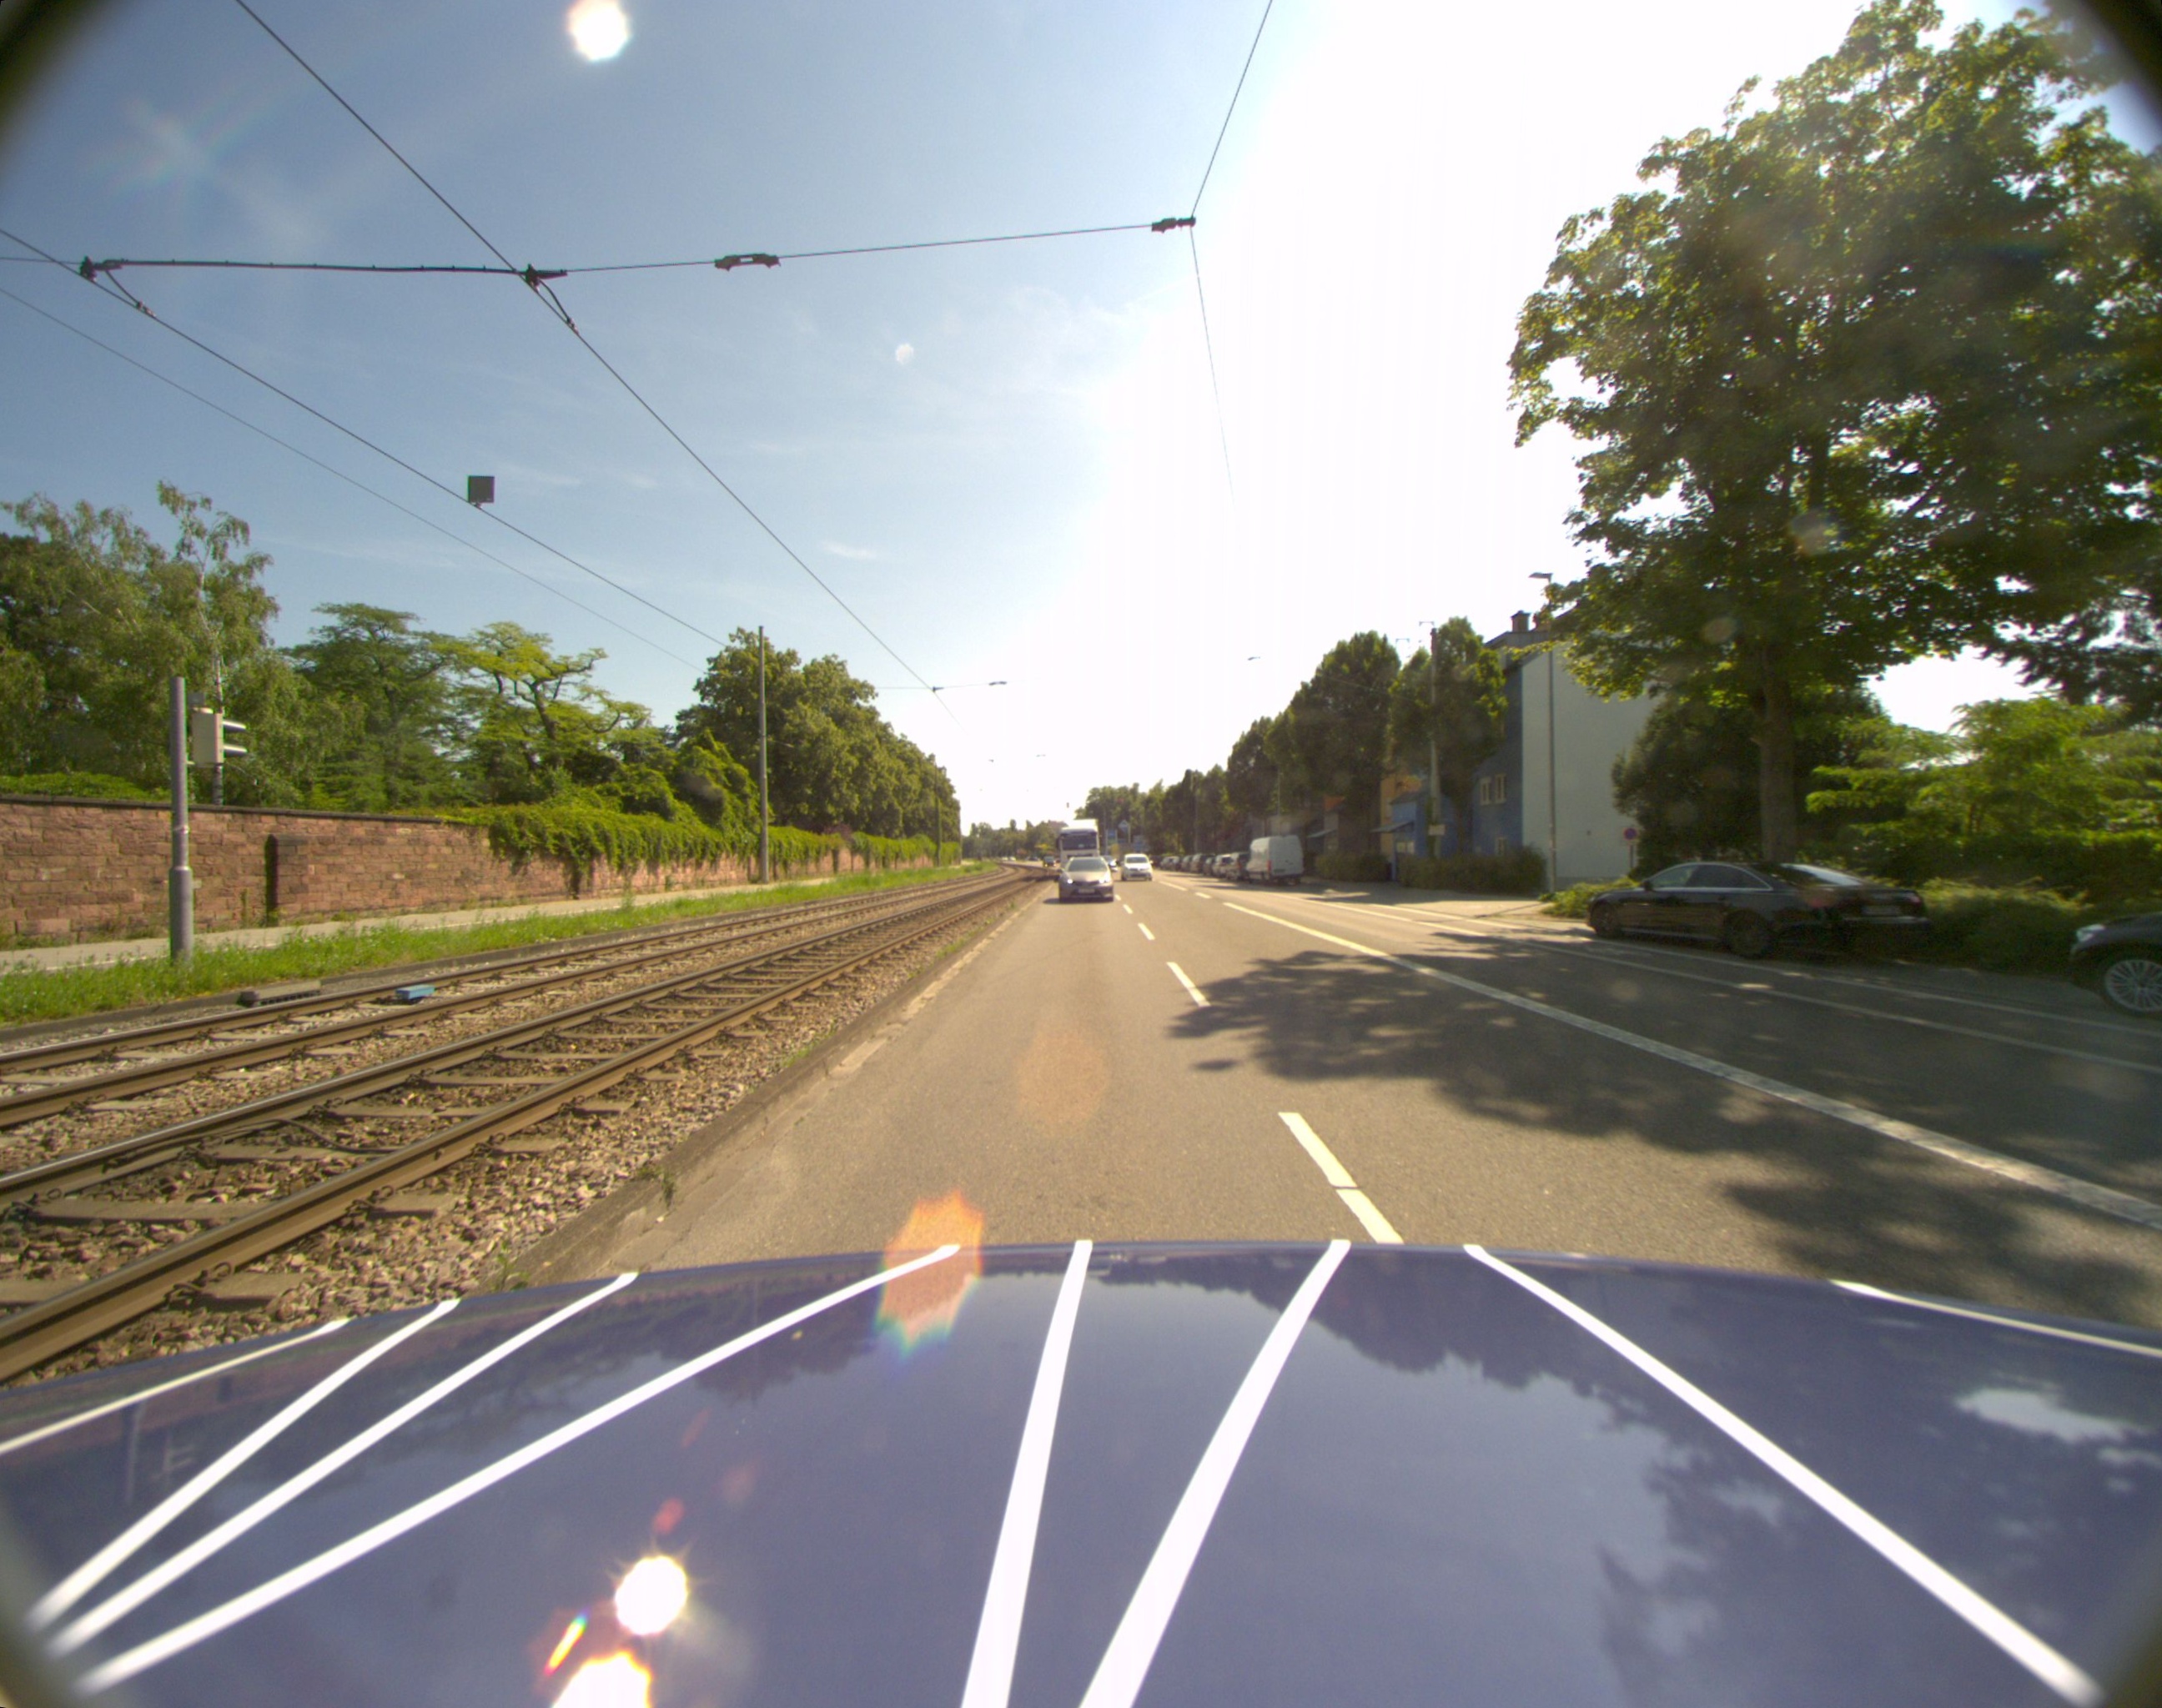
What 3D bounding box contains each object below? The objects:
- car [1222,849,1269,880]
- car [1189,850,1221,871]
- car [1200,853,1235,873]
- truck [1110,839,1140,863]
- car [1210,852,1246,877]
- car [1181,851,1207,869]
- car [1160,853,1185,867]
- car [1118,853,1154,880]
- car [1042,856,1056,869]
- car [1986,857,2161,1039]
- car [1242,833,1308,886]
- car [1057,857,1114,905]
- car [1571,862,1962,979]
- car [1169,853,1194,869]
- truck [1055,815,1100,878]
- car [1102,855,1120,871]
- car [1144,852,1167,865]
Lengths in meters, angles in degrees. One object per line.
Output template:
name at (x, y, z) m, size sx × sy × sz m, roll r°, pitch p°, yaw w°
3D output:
car at (11.124, 0.664, 51.725) m, size 1.998 × 1.855 × 4.966 m, roll -5°, pitch 0°, yaw 1°
car at (11.020, 0.562, 67.665) m, size 1.834 × 1.718 × 4.348 m, roll -3°, pitch 1°, yaw -3°
car at (11.199, 0.713, 62.392) m, size 1.871 × 1.447 × 4.074 m, roll -4°, pitch 1°, yaw -3°
truck at (6.707, -0.449, 117.084) m, size 3.165 × 3.533 × 8.779 m, roll 0°, pitch 0°, yaw -6°
car at (11.000, 0.737, 57.229) m, size 1.853 × 1.693 × 4.540 m, roll -4°, pitch 1°, yaw 1°
car at (10.776, 0.529, 72.724) m, size 1.681 × 1.598 × 4.164 m, roll -2°, pitch 1°, yaw -3°
car at (10.295, 0.654, 85.734) m, size 1.682 × 1.437 × 4.835 m, roll -2°, pitch 1°, yaw -6°
car at (3.279, 0.717, 46.022) m, size 1.784 × 1.538 × 4.394 m, roll -2°, pitch 0°, yaw 0°
car at (-4.633, 1.155, 110.178) m, size 1.854 × 1.707 × 3.999 m, roll -2°, pitch 1°, yaw -2°
car at (10.558, 0.849, 5.690) m, size 1.766 × 1.596 × 4.893 m, roll -1°, pitch 0°, yaw 0°
car at (10.991, 0.278, 43.610) m, size 1.998 × 2.661 × 7.086 m, roll -4°, pitch 0°, yaw 1°
car at (0.177, 0.850, 26.213) m, size 1.747 × 1.421 × 5.041 m, roll -1°, pitch 0°, yaw 1°
car at (10.613, 0.896, 12.450) m, size 1.845 × 1.457 × 4.908 m, roll 0°, pitch 0°, yaw -3°
car at (10.450, 0.700, 79.100) m, size 1.681 × 1.462 × 4.212 m, roll -2°, pitch 1°, yaw -4°
truck at (-0.124, -0.491, 53.199) m, size 2.805 × 3.926 × 11.943 m, roll 0°, pitch 0°, yaw 1°
car at (2.969, 0.909, 75.437) m, size 1.659 × 1.517 × 3.792 m, roll 0°, pitch 0°, yaw 0°
car at (9.496, 0.585, 97.246) m, size 1.911 × 1.567 × 4.929 m, roll -2°, pitch 1°, yaw -6°
